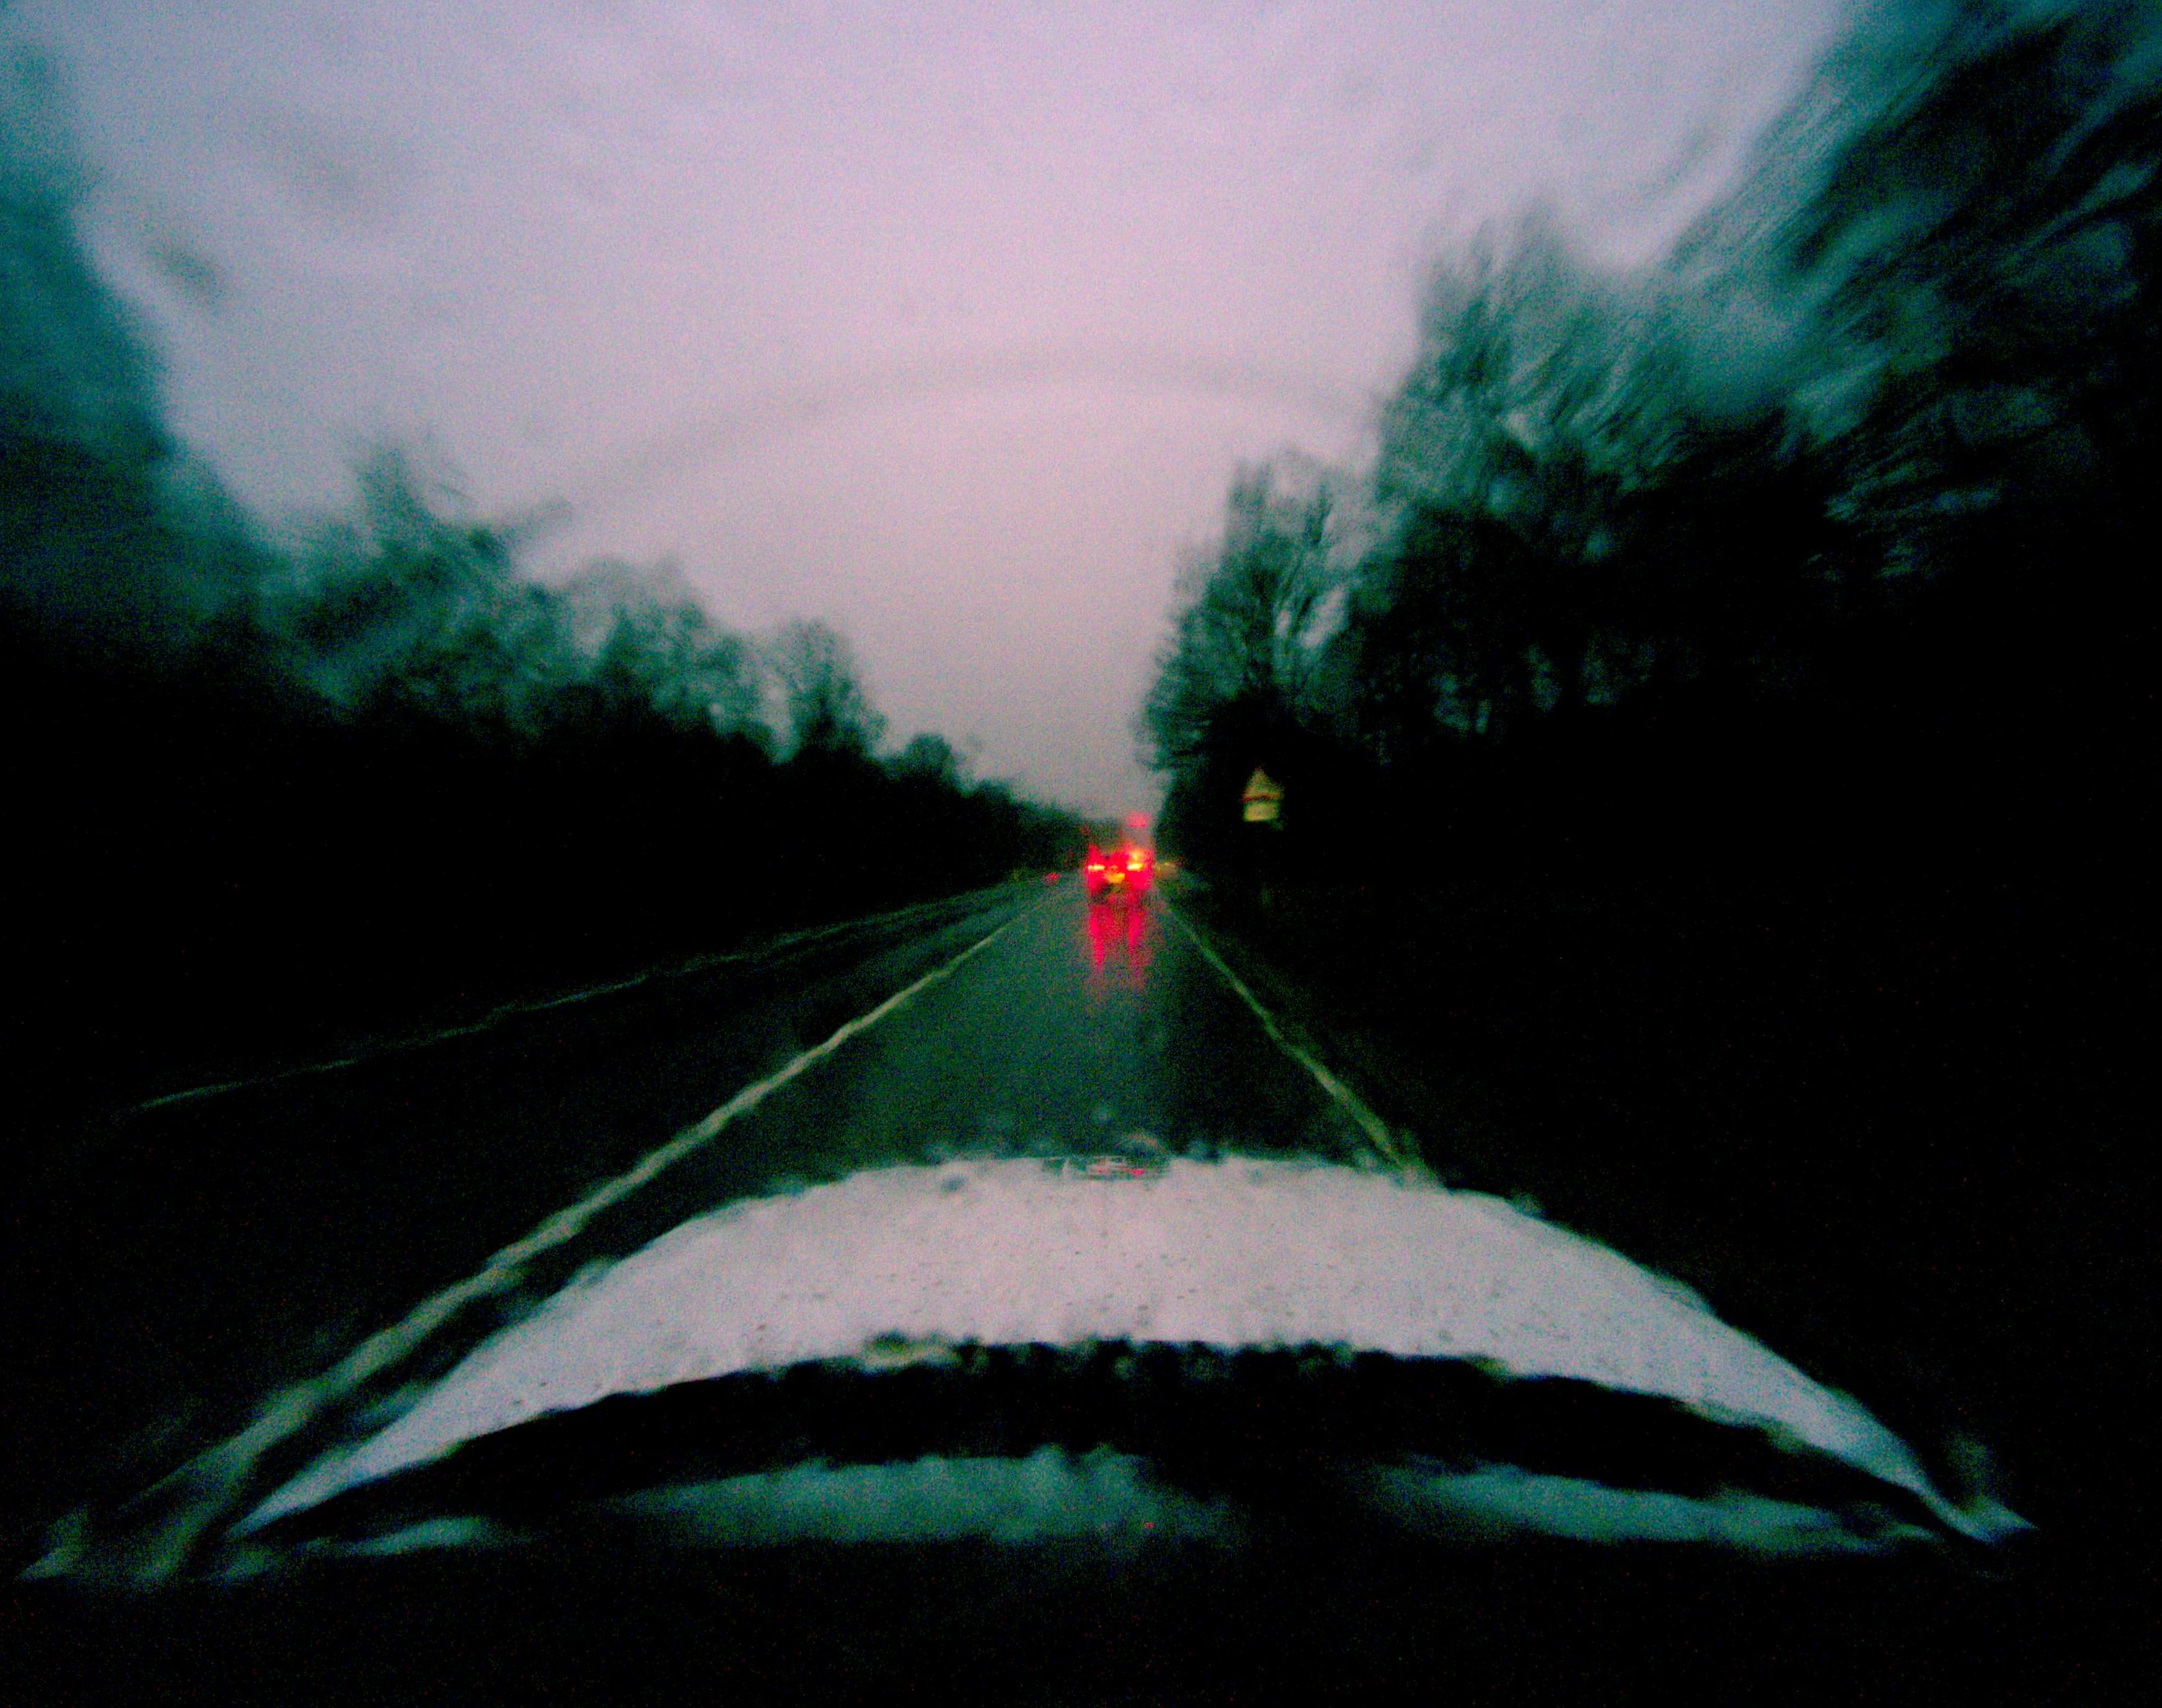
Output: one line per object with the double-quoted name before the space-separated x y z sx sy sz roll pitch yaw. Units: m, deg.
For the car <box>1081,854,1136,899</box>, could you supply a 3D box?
"car" 1.002 0.725 28.117 1.671 1.389 4.103 -2 0 4
